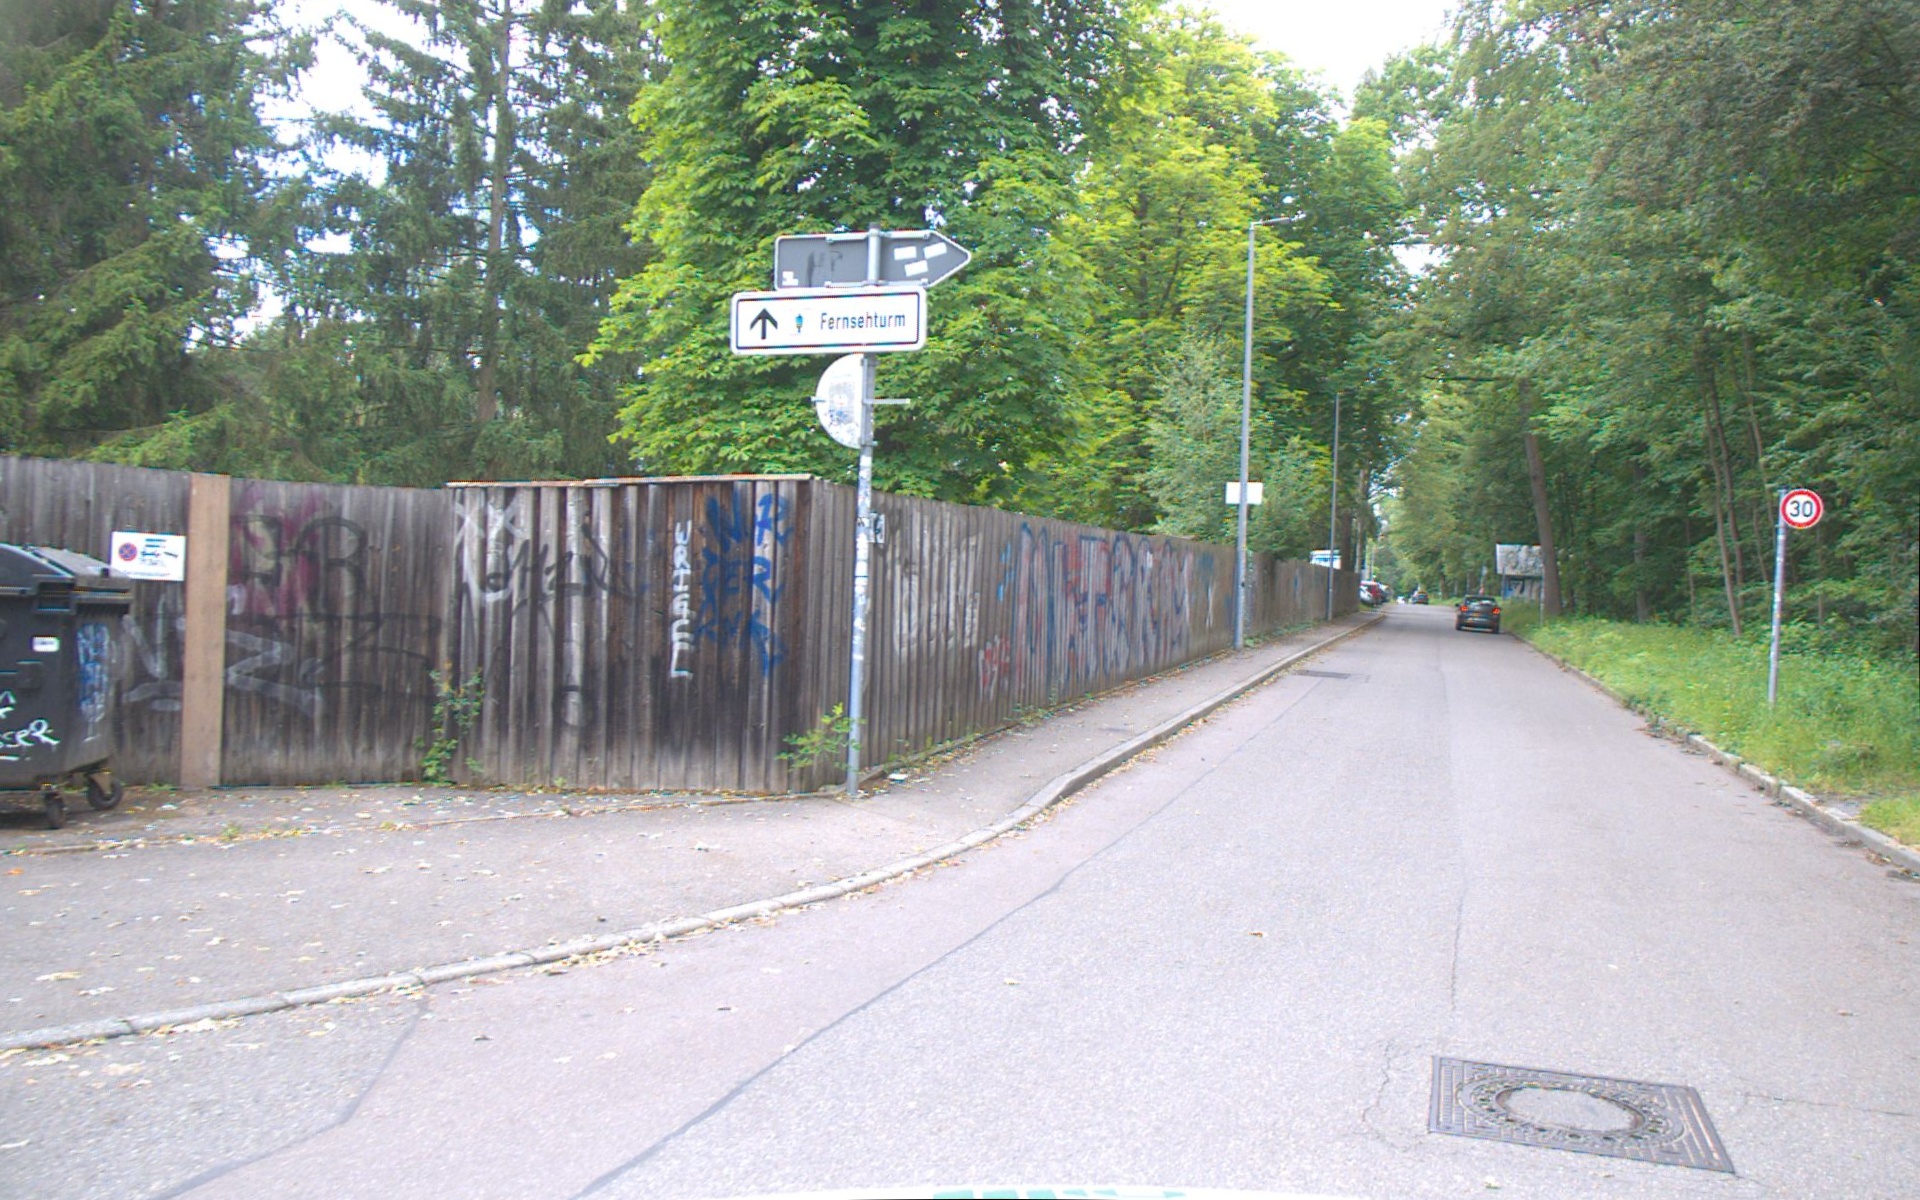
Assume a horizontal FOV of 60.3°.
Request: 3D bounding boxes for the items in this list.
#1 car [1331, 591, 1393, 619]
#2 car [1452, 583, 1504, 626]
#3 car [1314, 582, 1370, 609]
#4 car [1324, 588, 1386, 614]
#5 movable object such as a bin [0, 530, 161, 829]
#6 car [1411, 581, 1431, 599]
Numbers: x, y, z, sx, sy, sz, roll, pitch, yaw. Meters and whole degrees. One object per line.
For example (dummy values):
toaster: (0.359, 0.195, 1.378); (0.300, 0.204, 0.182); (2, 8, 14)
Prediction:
car: (26.248, 0.330, 108.093); (3.902, 1.601, 2.002); (2, 0, 13)
car: (21.008, 0.194, 67.110); (1.868, 1.534, 4.002); (5, 1, 17)
car: (27.992, -0.341, 121.141); (3.902, 1.780, 2.002); (3, 1, 13)
car: (26.366, 0.048, 110.498); (3.902, 1.601, 2.002); (2, 1, 13)
movable object such as a bin: (-4.929, 0.386, 8.723); (1.058, 1.468, 1.280); (1, 0, -17)
car: (55.304, -1.186, 198.542); (1.951, 2.048, 4.004); (2, 1, 11)
